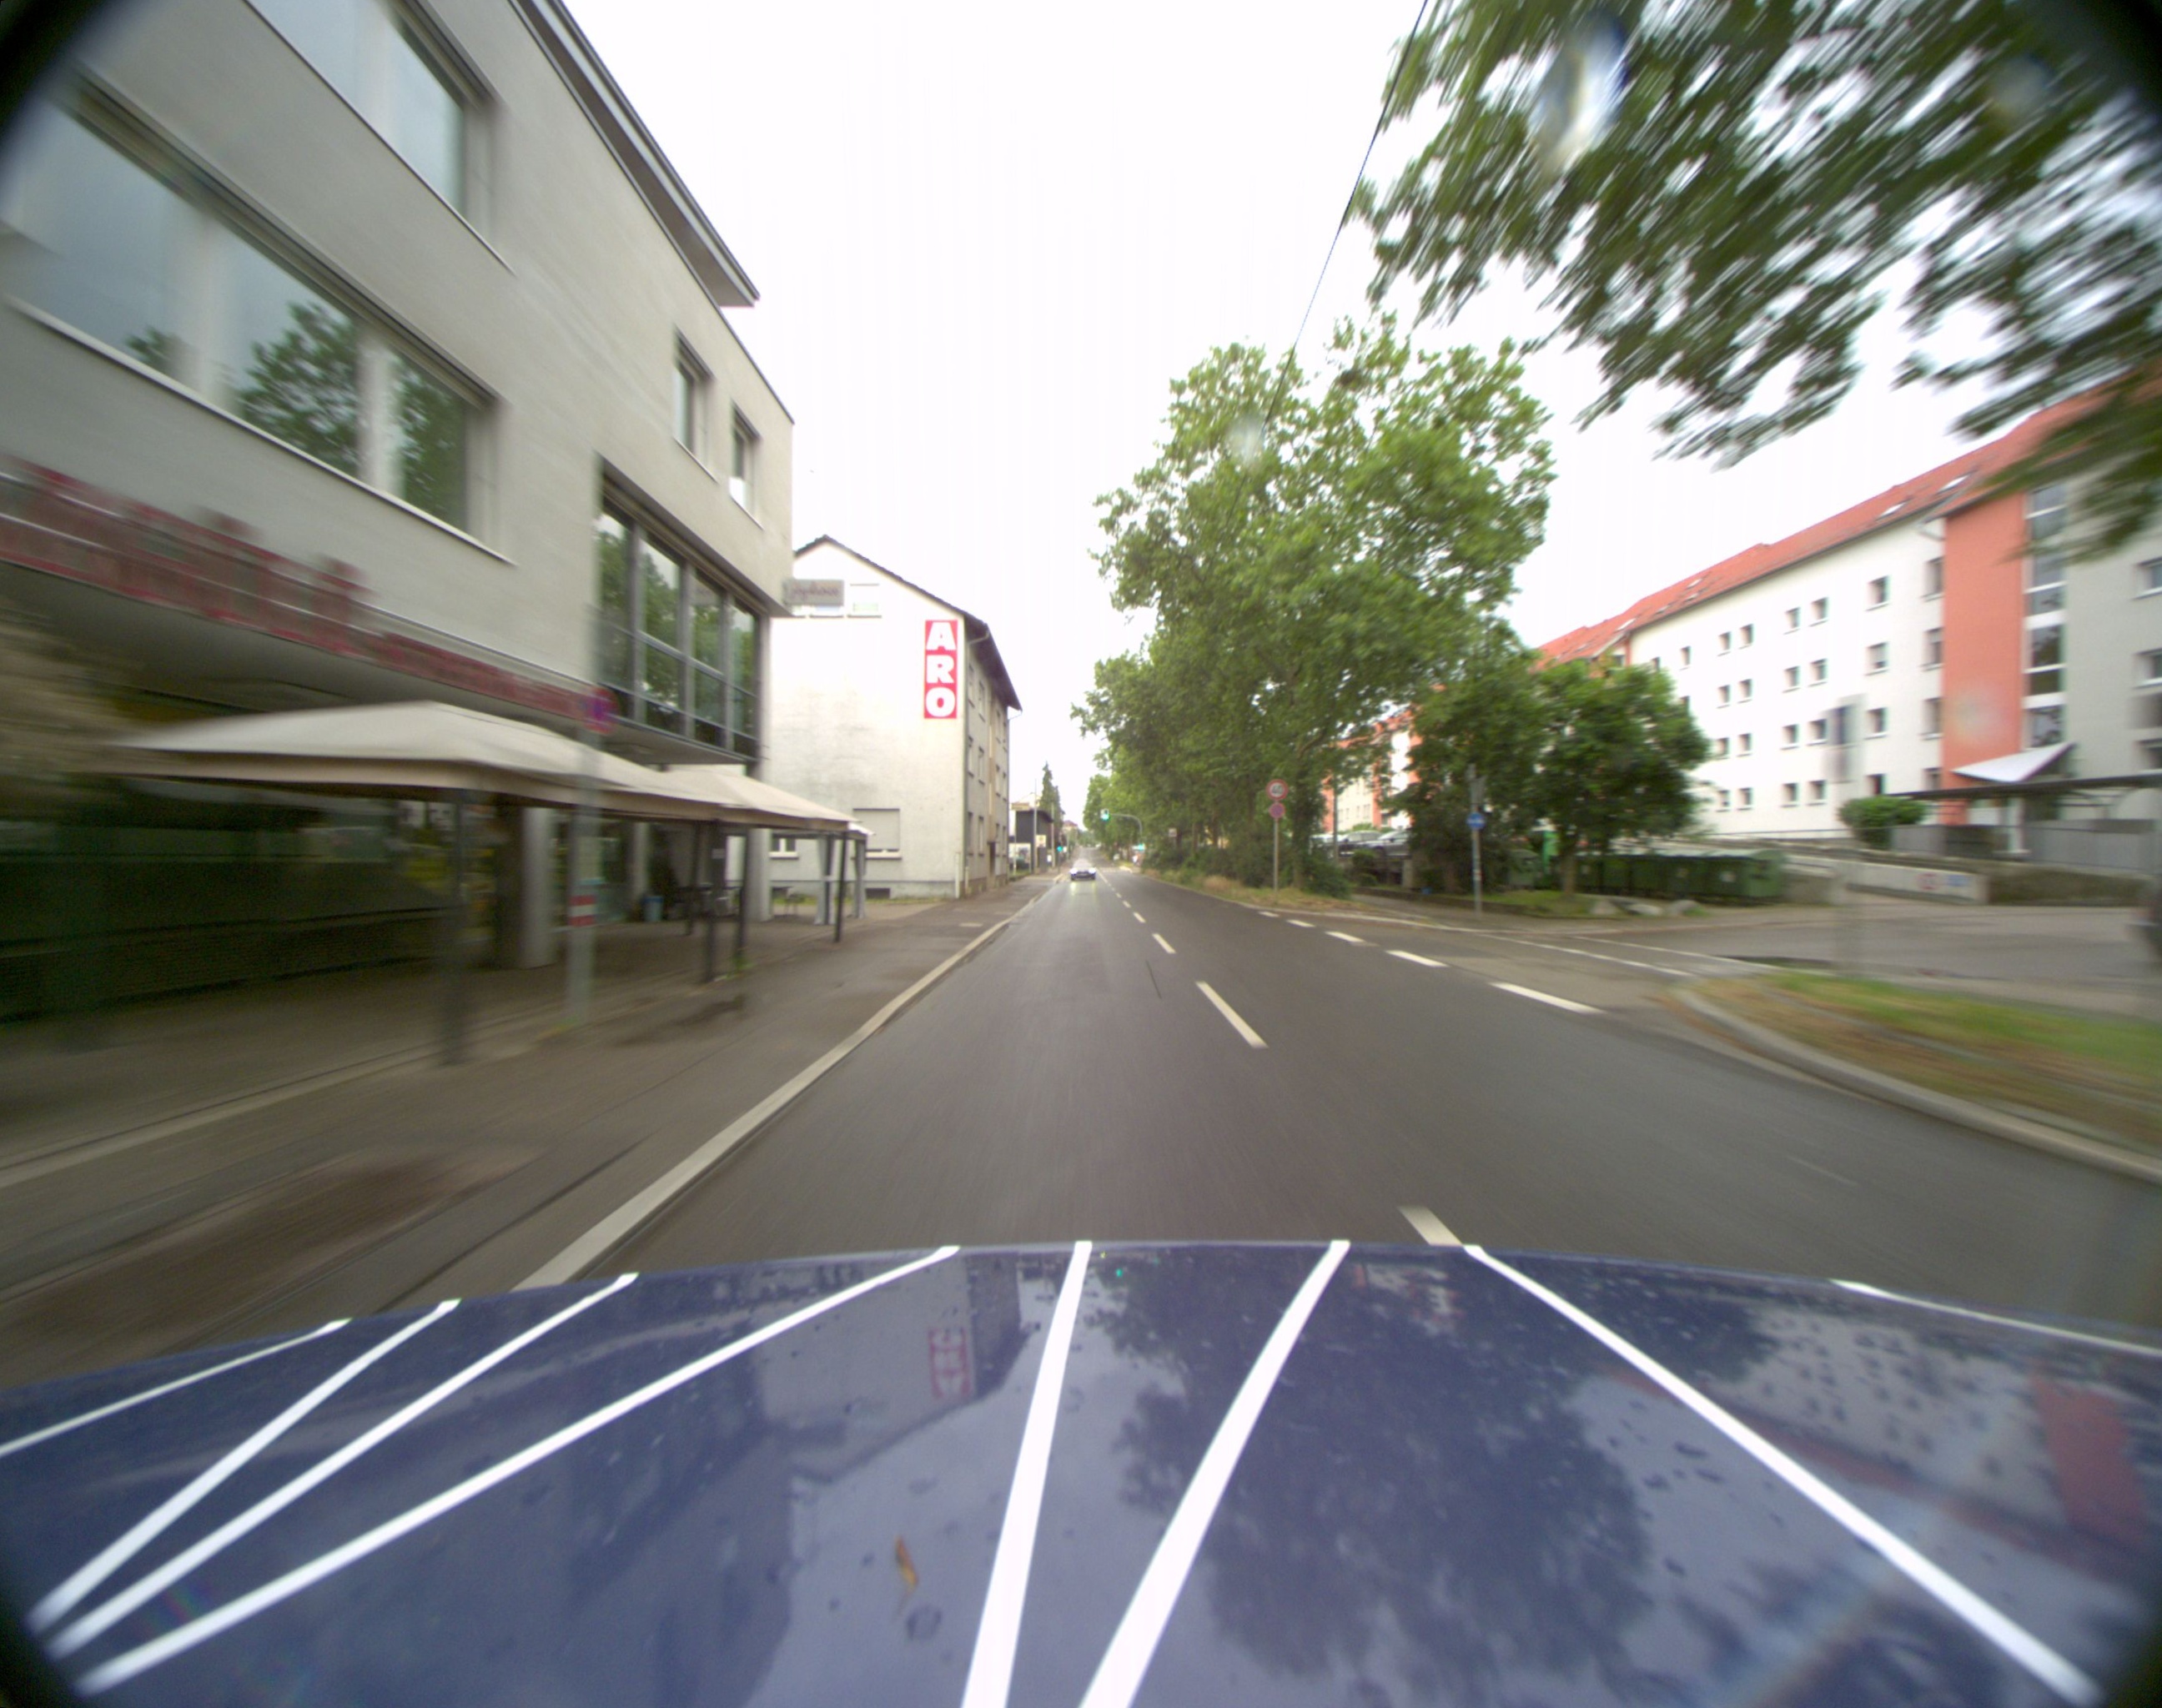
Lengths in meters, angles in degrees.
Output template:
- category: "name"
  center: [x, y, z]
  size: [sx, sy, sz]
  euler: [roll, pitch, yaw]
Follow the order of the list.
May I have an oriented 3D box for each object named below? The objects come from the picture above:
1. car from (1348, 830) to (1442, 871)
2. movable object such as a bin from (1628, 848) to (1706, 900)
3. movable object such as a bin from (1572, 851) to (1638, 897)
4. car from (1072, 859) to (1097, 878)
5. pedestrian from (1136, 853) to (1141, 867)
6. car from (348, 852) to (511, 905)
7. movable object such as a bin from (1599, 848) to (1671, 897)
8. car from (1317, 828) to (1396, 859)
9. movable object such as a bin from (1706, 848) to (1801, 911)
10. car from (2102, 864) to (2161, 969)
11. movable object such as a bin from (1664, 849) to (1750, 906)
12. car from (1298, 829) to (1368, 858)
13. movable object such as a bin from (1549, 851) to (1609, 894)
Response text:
- category: "car"
  center: [15.838, -0.170, 38.519]
  size: [3.995, 2.002, 1.957]
  euler: [0, 0, 6]
- category: "movable object such as a bin"
  center: [17.195, 0.579, 22.342]
  size: [1.164, 1.379, 1.301]
  euler: [-5, 0, -1]
- category: "movable object such as a bin"
  center: [17.282, 0.643, 25.091]
  size: [1.164, 1.379, 1.301]
  euler: [-5, 0, -1]
- category: "car"
  center: [0.209, 1.057, 55.953]
  size: [1.692, 1.334, 3.999]
  euler: [0, 0, -2]
- category: "pedestrian"
  center: [6.864, 0.663, 90.764]
  size: [0.648, 1.674, 0.631]
  euler: [0, 0, 0]
- category: "car"
  center: [-24.272, 0.886, 28.416]
  size: [4.312, 1.860, 2.021]
  euler: [-1, 1, 1]
- category: "movable object such as a bin"
  center: [17.258, 0.570, 23.718]
  size: [1.164, 1.379, 1.301]
  euler: [-5, 0, -1]
- category: "car"
  center: [16.405, -0.630, 45.327]
  size: [3.997, 1.784, 1.959]
  euler: [0, 0, 1]
- category: "movable object such as a bin"
  center: [17.150, 0.641, 19.414]
  size: [1.164, 1.455, 1.301]
  euler: [-5, 0, -1]
- category: "car"
  center: [17.183, 0.870, 10.219]
  size: [3.995, 1.468, 1.908]
  euler: [0, 0, 7]
- category: "movable object such as a bin"
  center: [17.143, 0.630, 20.843]
  size: [1.164, 1.407, 1.301]
  euler: [-5, 0, -1]
- category: "car"
  center: [15.886, -0.642, 47.965]
  size: [3.802, 1.679, 1.738]
  euler: [-2, 1, -2]
- category: "movable object such as a bin"
  center: [17.286, 0.632, 26.407]
  size: [1.164, 1.379, 1.226]
  euler: [-5, 0, -1]
